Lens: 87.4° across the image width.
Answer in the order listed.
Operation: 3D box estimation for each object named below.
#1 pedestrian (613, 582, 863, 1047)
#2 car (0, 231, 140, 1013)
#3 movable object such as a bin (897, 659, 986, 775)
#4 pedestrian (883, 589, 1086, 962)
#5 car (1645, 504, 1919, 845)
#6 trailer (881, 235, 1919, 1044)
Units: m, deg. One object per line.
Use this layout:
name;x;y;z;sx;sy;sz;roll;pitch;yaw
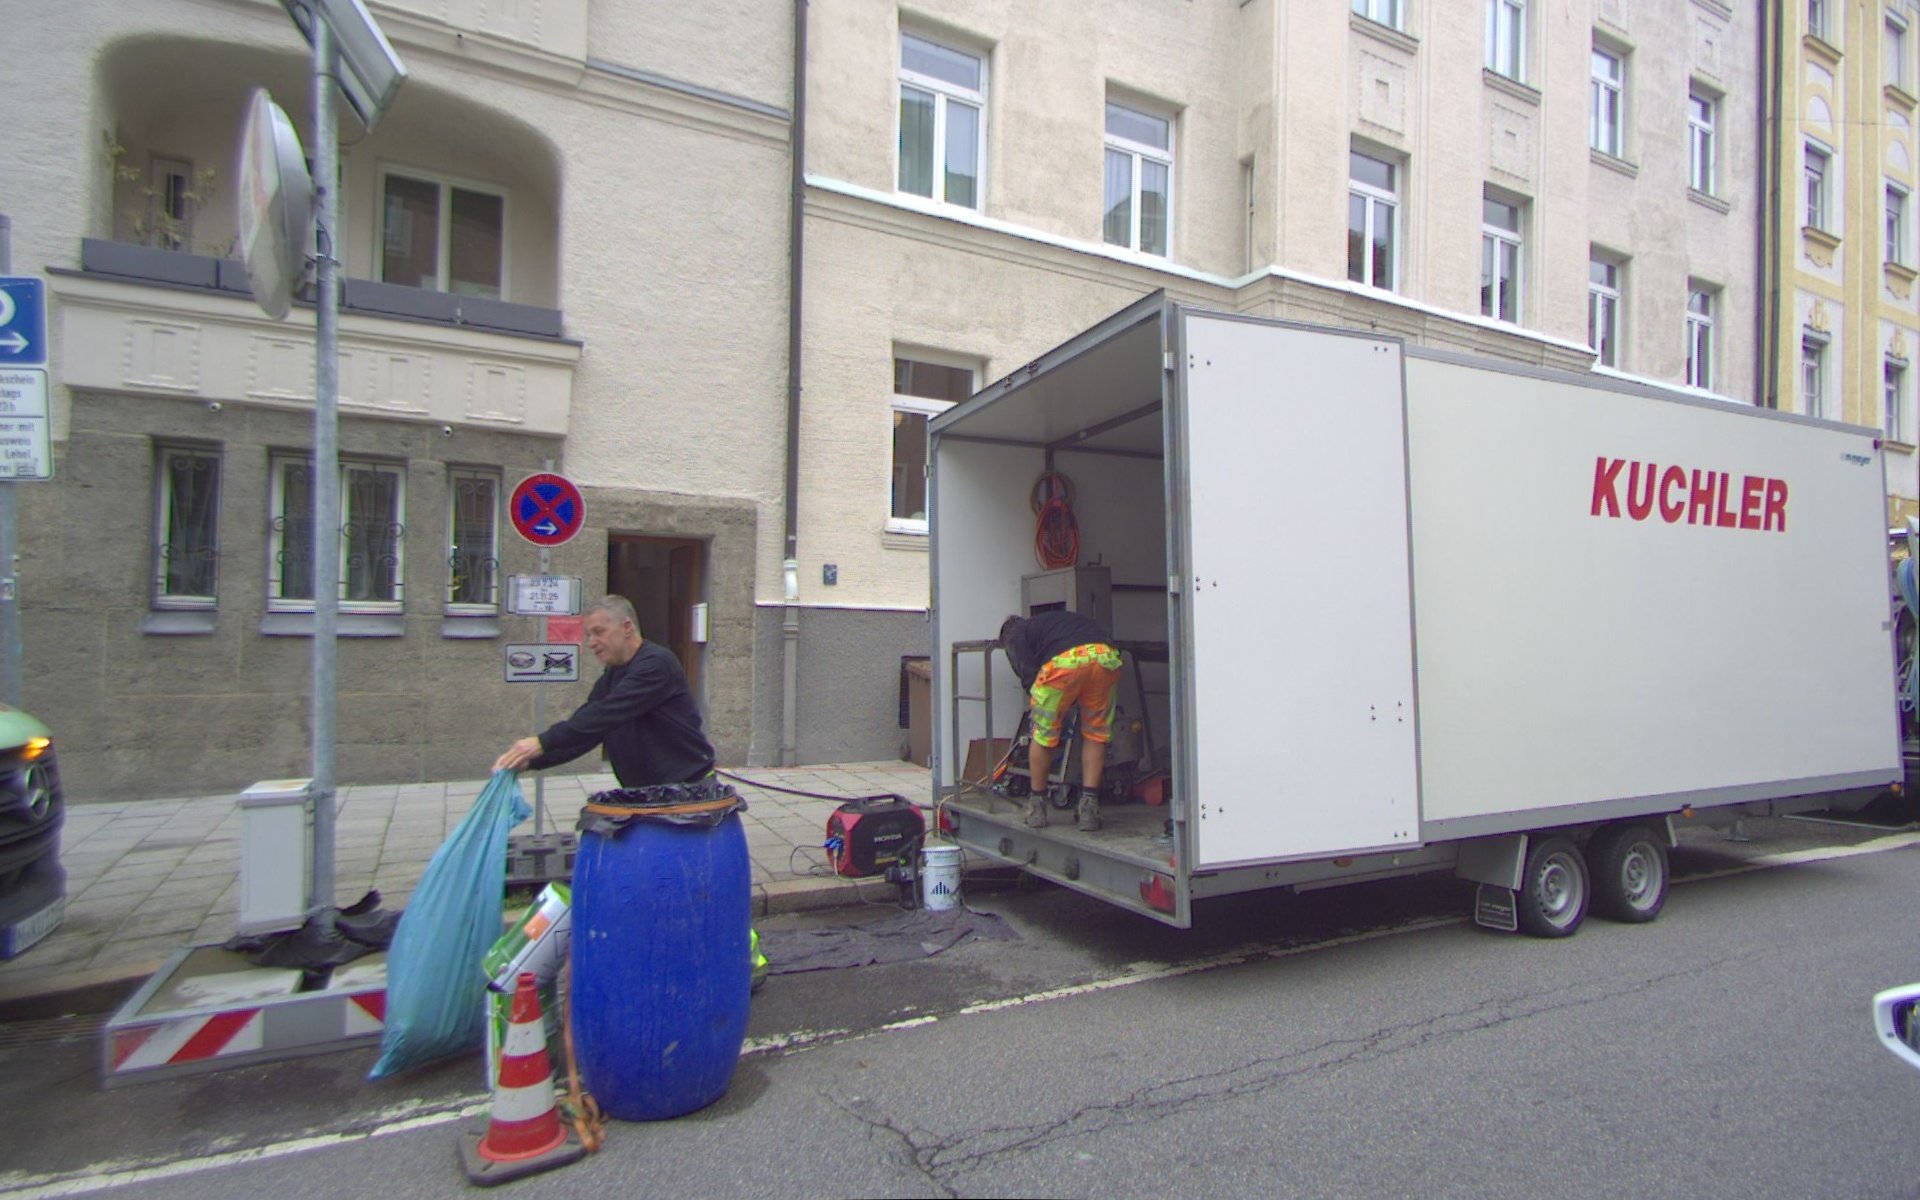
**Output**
pedestrian;-0.880;0.757;3.971;0.633;1.601;0.754;3;-3;-44
car;-6.351;0.011;2.160;6.708;2.606;2.133;2;-2;-27
movable object such as a bin;-0.203;1.206;10.545;0.720;1.143;0.646;2;-2;-25
pedestrian;0.120;0.795;4.959;0.753;1.652;0.633;-1;-3;43
car;9.985;0.759;10.152;6.791;2.620;2.049;2;-6;-28
trailer;3.477;0.284;6.636;7.498;3.007;2.796;1;-5;-26
